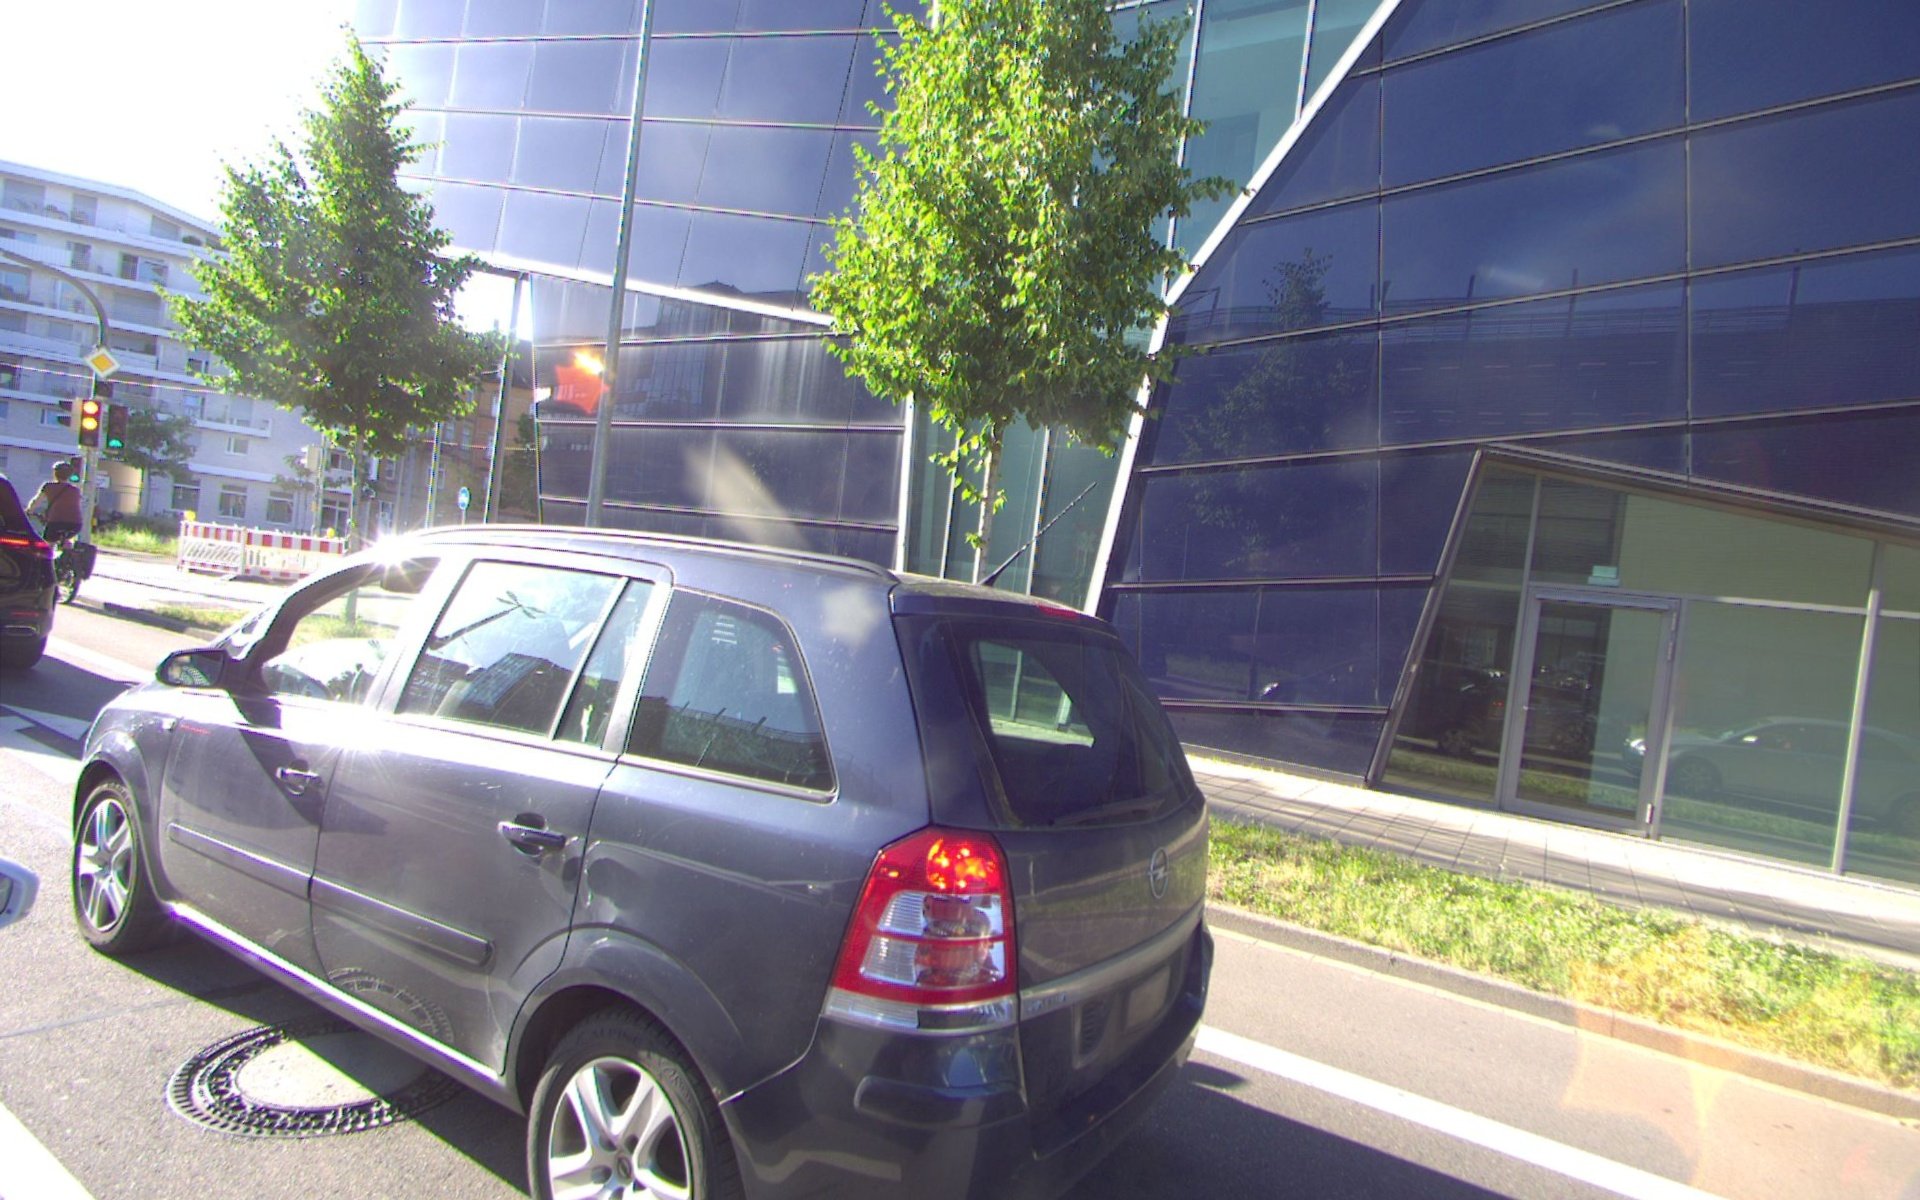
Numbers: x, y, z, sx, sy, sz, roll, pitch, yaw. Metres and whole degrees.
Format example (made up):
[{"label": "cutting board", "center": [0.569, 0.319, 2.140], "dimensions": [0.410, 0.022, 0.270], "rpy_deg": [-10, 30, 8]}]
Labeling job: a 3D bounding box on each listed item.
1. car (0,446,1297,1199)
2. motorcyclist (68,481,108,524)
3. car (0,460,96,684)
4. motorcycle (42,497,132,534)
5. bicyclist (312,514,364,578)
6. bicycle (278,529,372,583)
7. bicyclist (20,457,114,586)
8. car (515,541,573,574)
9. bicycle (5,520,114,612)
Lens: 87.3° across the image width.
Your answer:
[{"label": "car", "center": [-1.318, 0.585, 3.348], "dimensions": [4.190, 1.715, 1.749], "rpy_deg": [7, -2, 32]}, {"label": "motorcyclist", "center": [-33.318, -3.723, 38.417], "dimensions": [1.155, 1.500, 0.923], "rpy_deg": [7, 1, 42]}, {"label": "car", "center": [-9.573, -0.502, 8.573], "dimensions": [4.299, 1.735, 2.007], "rpy_deg": [7, -1, 32]}, {"label": "motorcycle", "center": [-33.354, -3.227, 38.468], "dimensions": [1.155, 1.013, 2.449], "rpy_deg": [7, 0, 42]}, {"label": "bicyclist", "center": [-17.982, -1.544, 29.105], "dimensions": [0.914, 1.727, 0.767], "rpy_deg": [7, 1, -9]}, {"label": "bicycle", "center": [-18.315, -1.251, 29.065], "dimensions": [2.046, 1.278, 0.767], "rpy_deg": [7, 0, -9]}, {"label": "bicyclist", "center": [-12.489, -1.099, 14.066], "dimensions": [0.956, 1.663, 0.654], "rpy_deg": [8, 1, 35]}, {"label": "car", "center": [-36.728, -3.729, 88.948], "dimensions": [4.541, 2.339, 1.990], "rpy_deg": [7, 0, -22]}, {"label": "bicycle", "center": [-12.587, -0.484, 14.044], "dimensions": [1.899, 1.056, 0.654], "rpy_deg": [8, 1, 35]}]
